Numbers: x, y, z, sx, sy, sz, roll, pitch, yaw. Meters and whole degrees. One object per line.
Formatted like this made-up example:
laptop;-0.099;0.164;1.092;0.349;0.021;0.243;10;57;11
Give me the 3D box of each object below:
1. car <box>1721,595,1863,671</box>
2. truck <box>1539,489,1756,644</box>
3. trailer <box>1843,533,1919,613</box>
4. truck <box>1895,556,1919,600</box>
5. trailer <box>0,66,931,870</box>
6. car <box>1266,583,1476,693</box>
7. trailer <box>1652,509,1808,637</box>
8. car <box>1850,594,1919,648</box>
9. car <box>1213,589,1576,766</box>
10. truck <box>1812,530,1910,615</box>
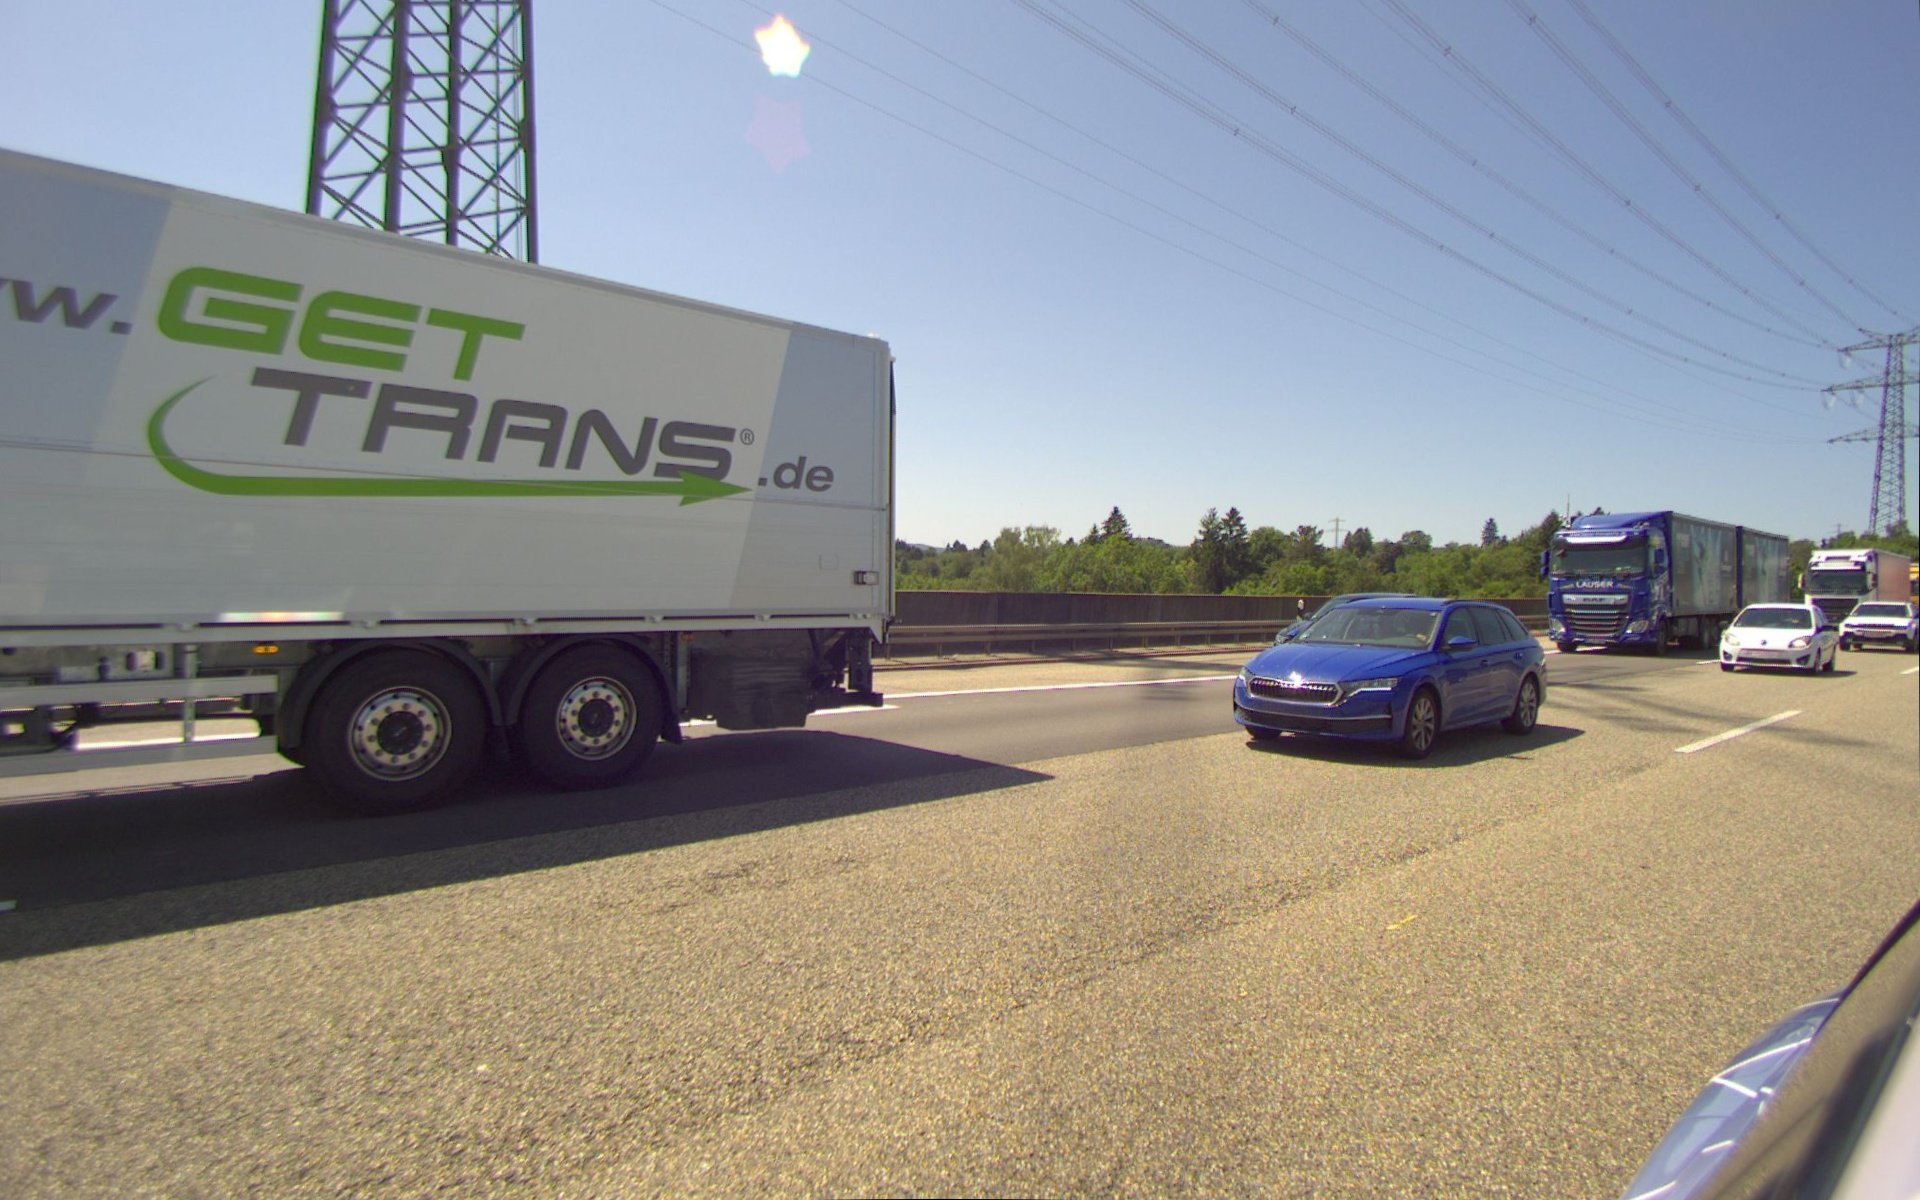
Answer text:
car;18.145;0.652;22.012;4.072;1.470;1.711;-1;1;-41
truck;20.996;-0.919;30.543;10.212;3.999;2.857;-1;0;-41
trailer;52.223;-1.453;56.840;8.924;4.170;2.607;-1;0;-40
truck;68.538;-1.548;72.048;6.139;3.018;2.249;-1;4;-43
trailer;-4.219;-0.675;7.338;8.073;3.940;2.903;-1;0;-42
car;7.155;0.554;17.455;4.046;1.675;1.711;-1;0;-41
trailer;28.062;-0.926;36.718;8.487;4.140;2.833;-1;0;-41
car;28.994;0.602;31.258;4.072;1.529;1.711;-1;1;-41
car;4.703;0.634;10.612;4.483;1.470;1.711;-1;1;-41
truck;45.734;-1.347;51.289;8.119;4.038;2.607;-1;0;-40
